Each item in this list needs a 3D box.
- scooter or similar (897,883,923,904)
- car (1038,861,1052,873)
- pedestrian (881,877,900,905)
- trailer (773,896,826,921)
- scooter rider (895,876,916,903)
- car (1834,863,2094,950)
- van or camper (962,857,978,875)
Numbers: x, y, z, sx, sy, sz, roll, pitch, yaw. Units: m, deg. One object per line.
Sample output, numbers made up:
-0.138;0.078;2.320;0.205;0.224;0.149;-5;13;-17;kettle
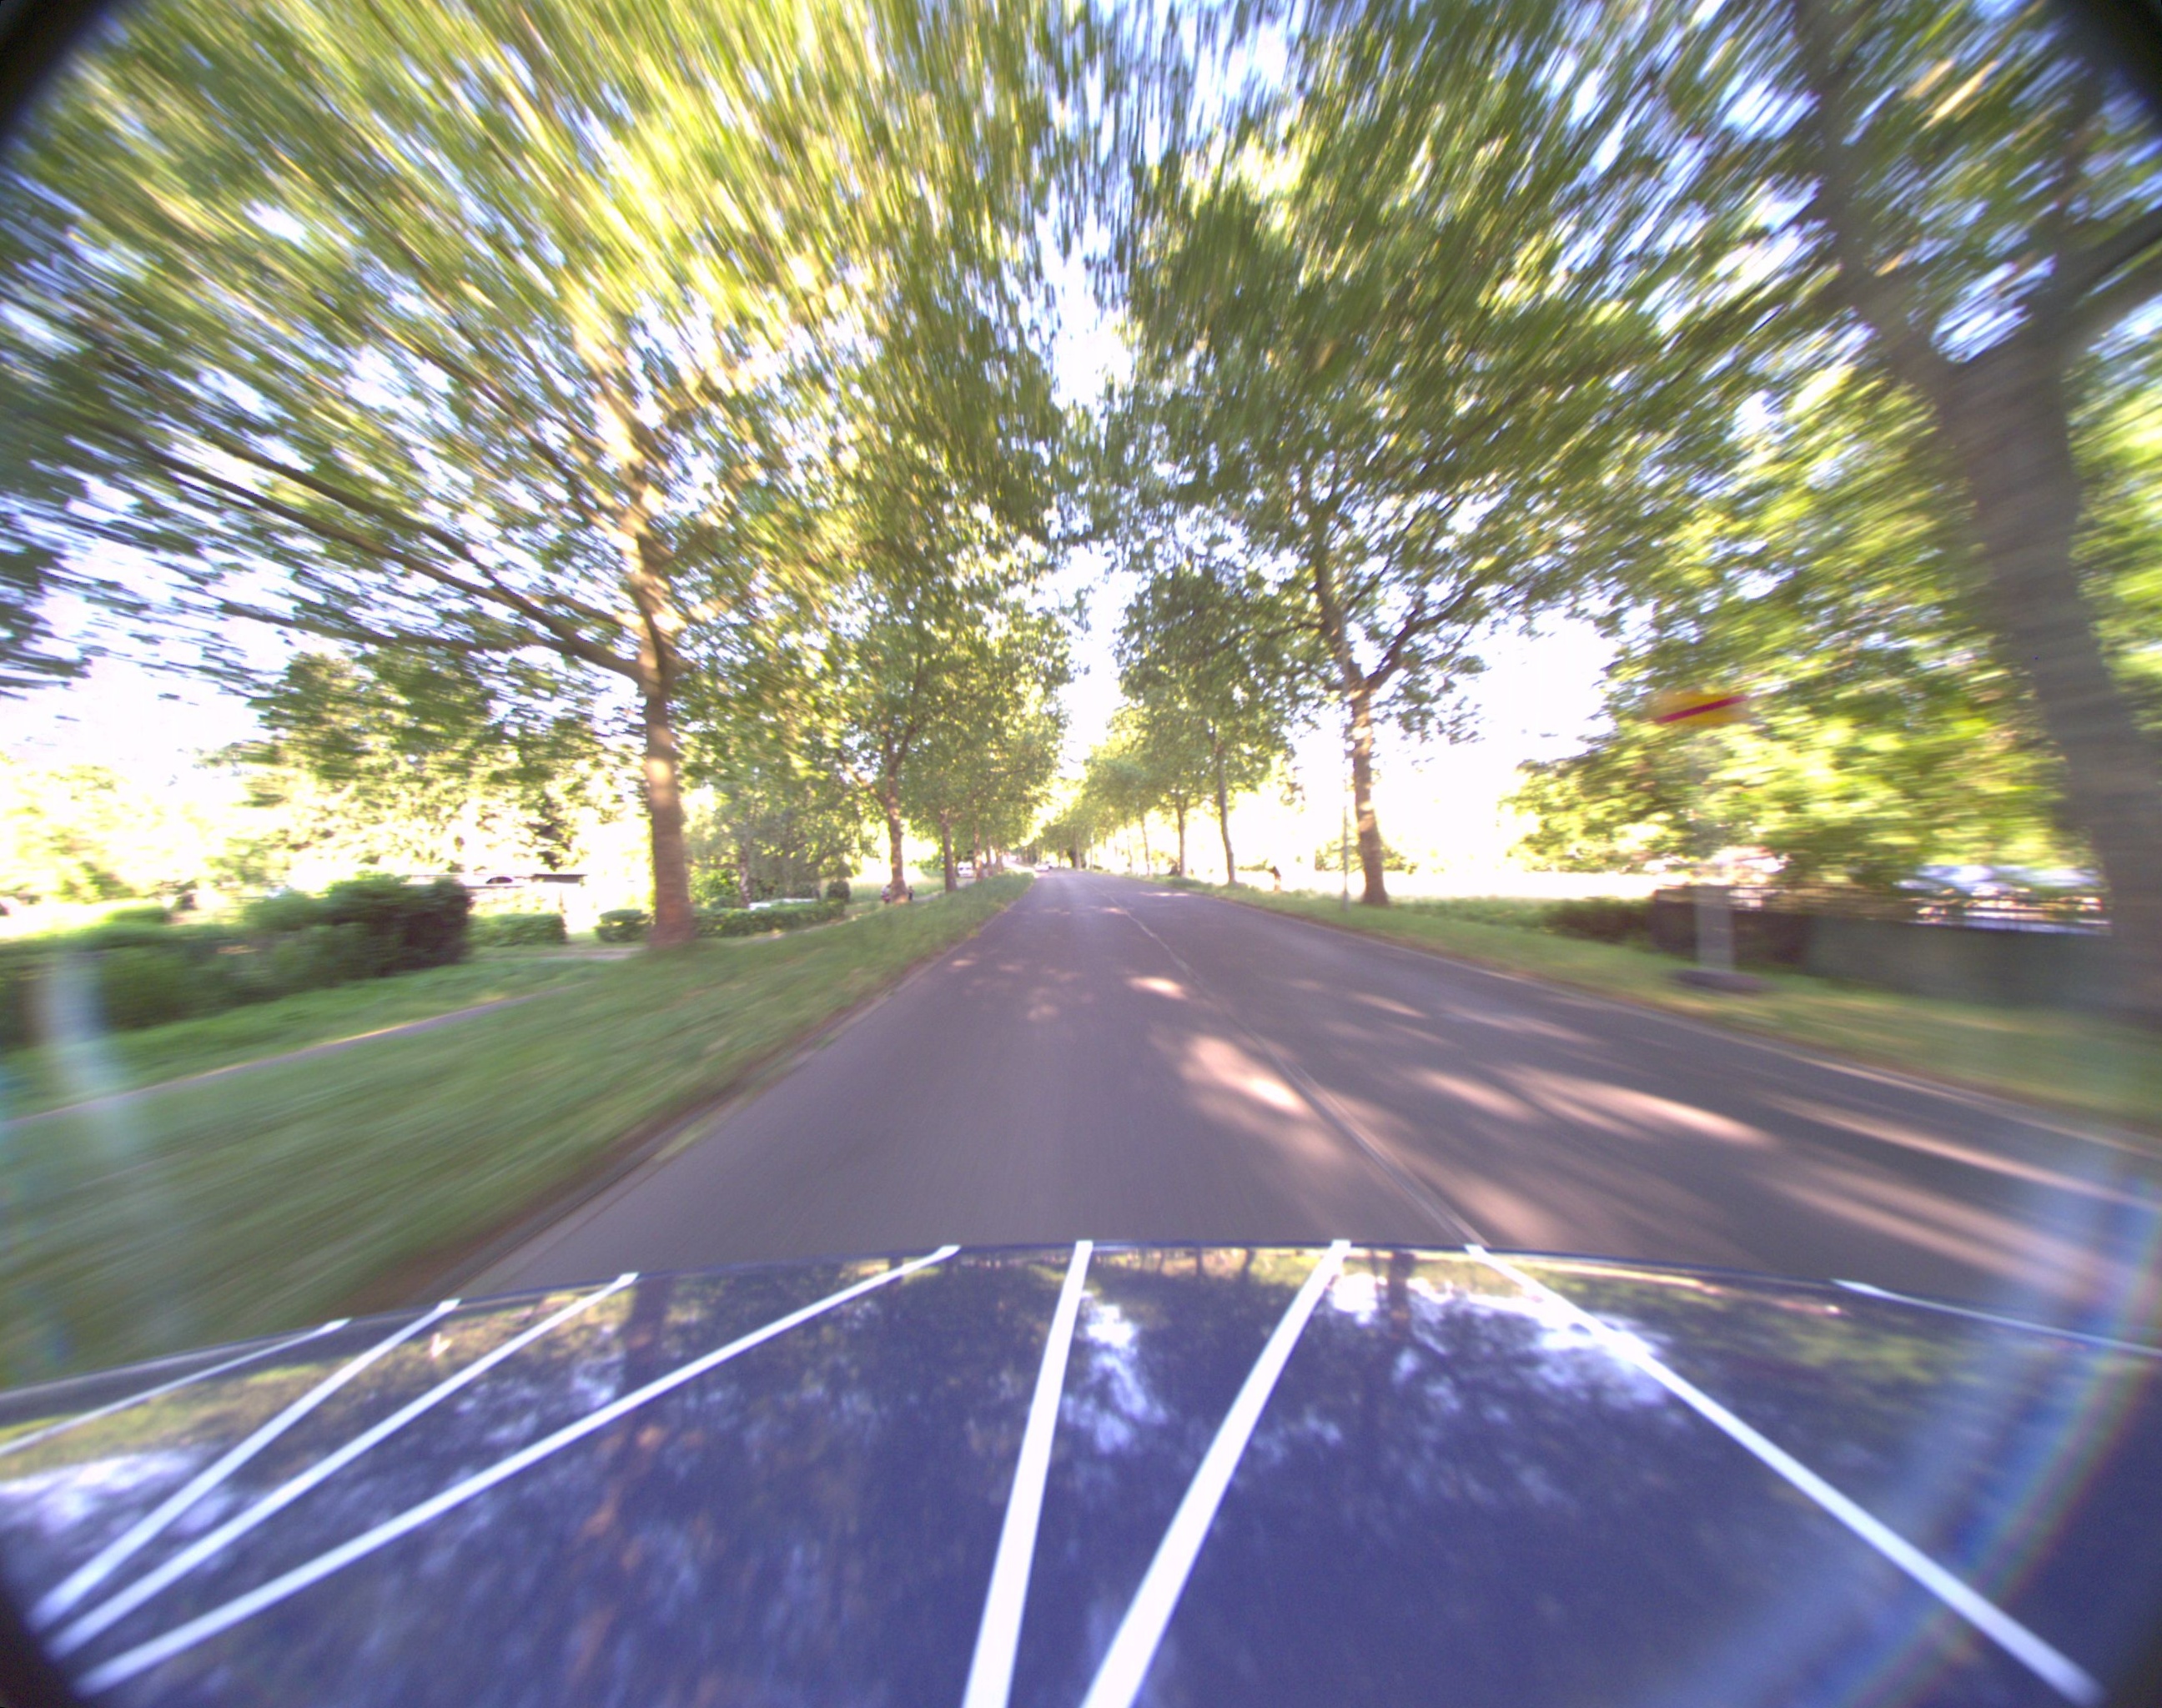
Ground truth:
-10.357;2.371;45.989;0.340;1.128;1.602;-1;1;40;scooter or similar
-5.358;1.870;112.645;1.999;1.655;3.998;-2;0;-4;car
-11.034;2.143;44.094;0.846;1.567;0.783;-2;1;-28;pedestrian
-13.909;2.695;37.641;2.122;1.046;1.201;-2;1;2;trailer
-10.565;2.115;45.726;0.782;1.567;0.846;-1;1;35;scooter rider
22.393;1.305;19.454;3.994;2.002;2.001;-2;1;8;car
-18.795;2.006;128.809;2.388;2.783;5.682;-2;1;-6;van or camper
